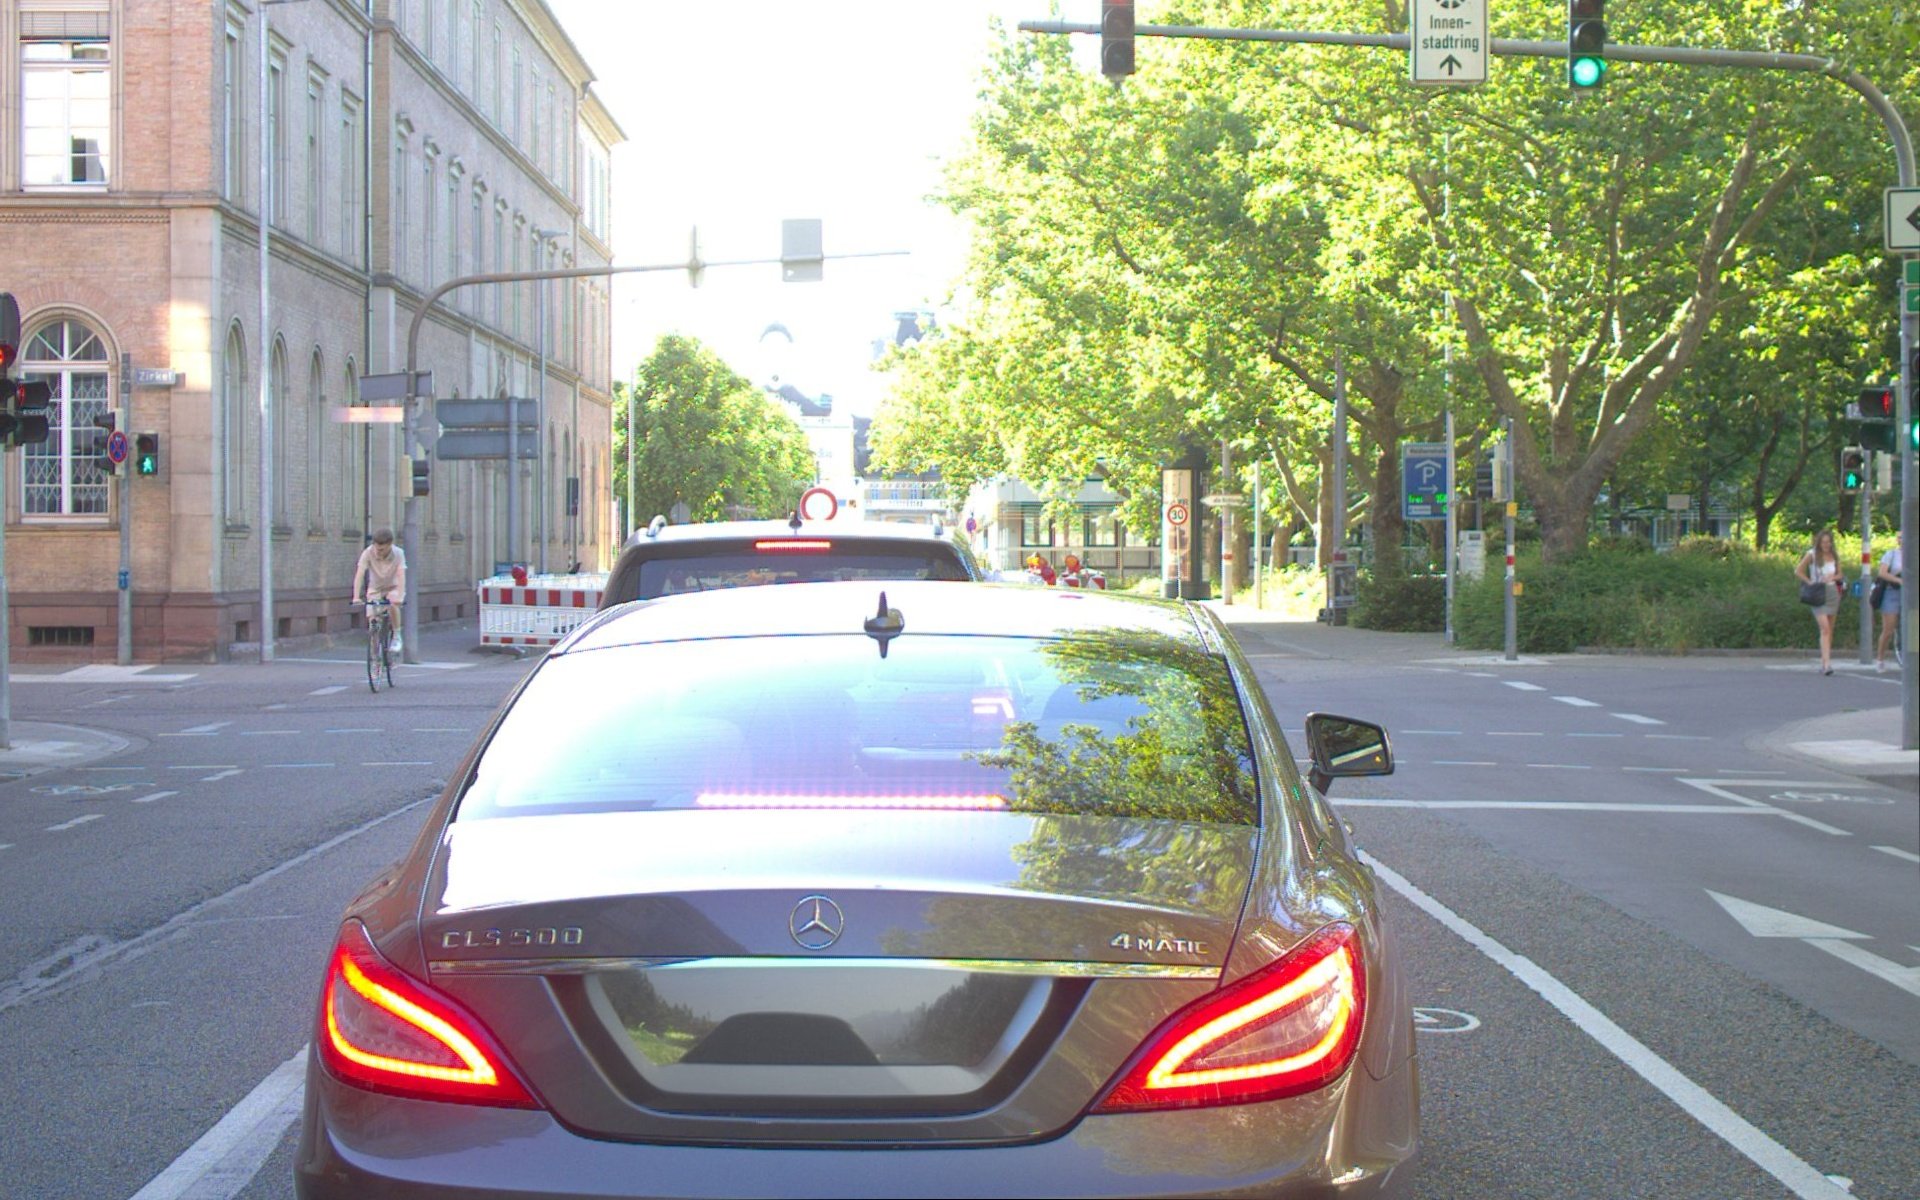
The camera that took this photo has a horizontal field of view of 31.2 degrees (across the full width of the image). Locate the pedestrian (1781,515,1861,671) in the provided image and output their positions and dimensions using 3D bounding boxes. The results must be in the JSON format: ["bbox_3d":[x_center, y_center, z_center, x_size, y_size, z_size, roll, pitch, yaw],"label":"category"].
[{"bbox_3d":[10.080,-0.080,40.252,0.732,1.802,0.909,-1,-1,3],"label":"pedestrian"}]

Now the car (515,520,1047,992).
[{"bbox_3d":[-0.575,0.515,13.732,1.809,1.607,4.000,0,1,1],"label":"car"}]

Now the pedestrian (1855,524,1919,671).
[{"bbox_3d":[10.909,-0.032,40.224,0.683,1.691,0.970,1,0,7],"label":"pedestrian"}]

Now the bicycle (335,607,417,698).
[{"bbox_3d":[-6.054,0.532,35.687,0.548,0.888,1.868,1,1,-1],"label":"bicycle"}]

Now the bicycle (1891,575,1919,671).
[{"bbox_3d":[11.315,0.259,40.165,0.524,1.096,1.741,1,1,5],"label":"bicycle"}]

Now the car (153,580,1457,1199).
[{"bbox_3d":[-0.034,0.691,7.098,1.843,1.424,4.516,1,1,5],"label":"car"}]

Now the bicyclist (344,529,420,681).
[{"bbox_3d":[-6.023,0.046,35.838,0.648,1.553,0.807,1,0,-1],"label":"bicyclist"}]
